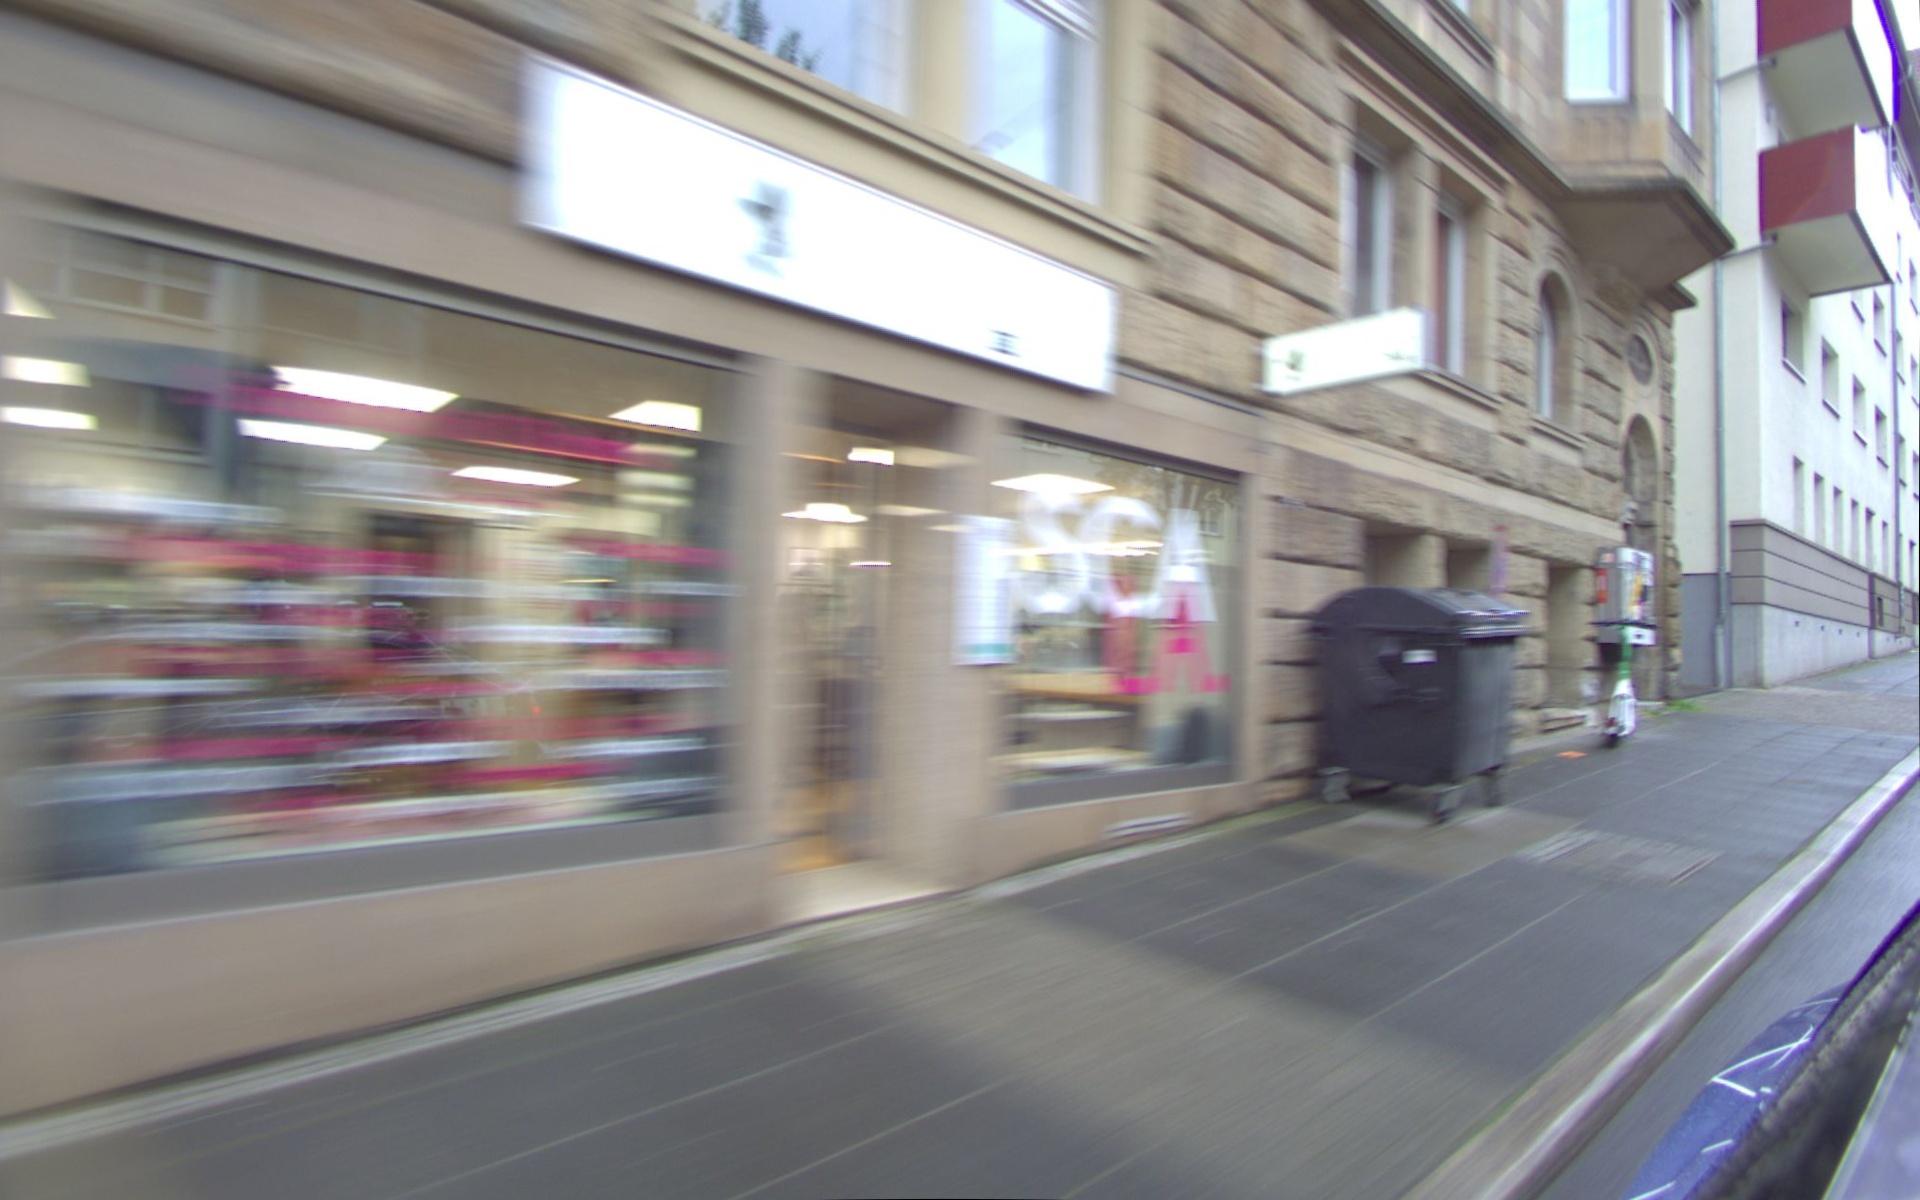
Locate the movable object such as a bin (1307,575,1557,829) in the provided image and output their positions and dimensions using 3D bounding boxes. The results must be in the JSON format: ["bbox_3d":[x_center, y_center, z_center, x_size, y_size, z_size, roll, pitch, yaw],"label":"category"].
[{"bbox_3d":[3.159,0.588,6.754,1.369,1.469,1.011,1,1,-41],"label":"movable object such as a bin"}]

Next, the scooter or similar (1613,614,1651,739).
[{"bbox_3d":[6.501,0.714,9.785,0.209,1.125,0.879,2,2,39],"label":"scooter or similar"}]
